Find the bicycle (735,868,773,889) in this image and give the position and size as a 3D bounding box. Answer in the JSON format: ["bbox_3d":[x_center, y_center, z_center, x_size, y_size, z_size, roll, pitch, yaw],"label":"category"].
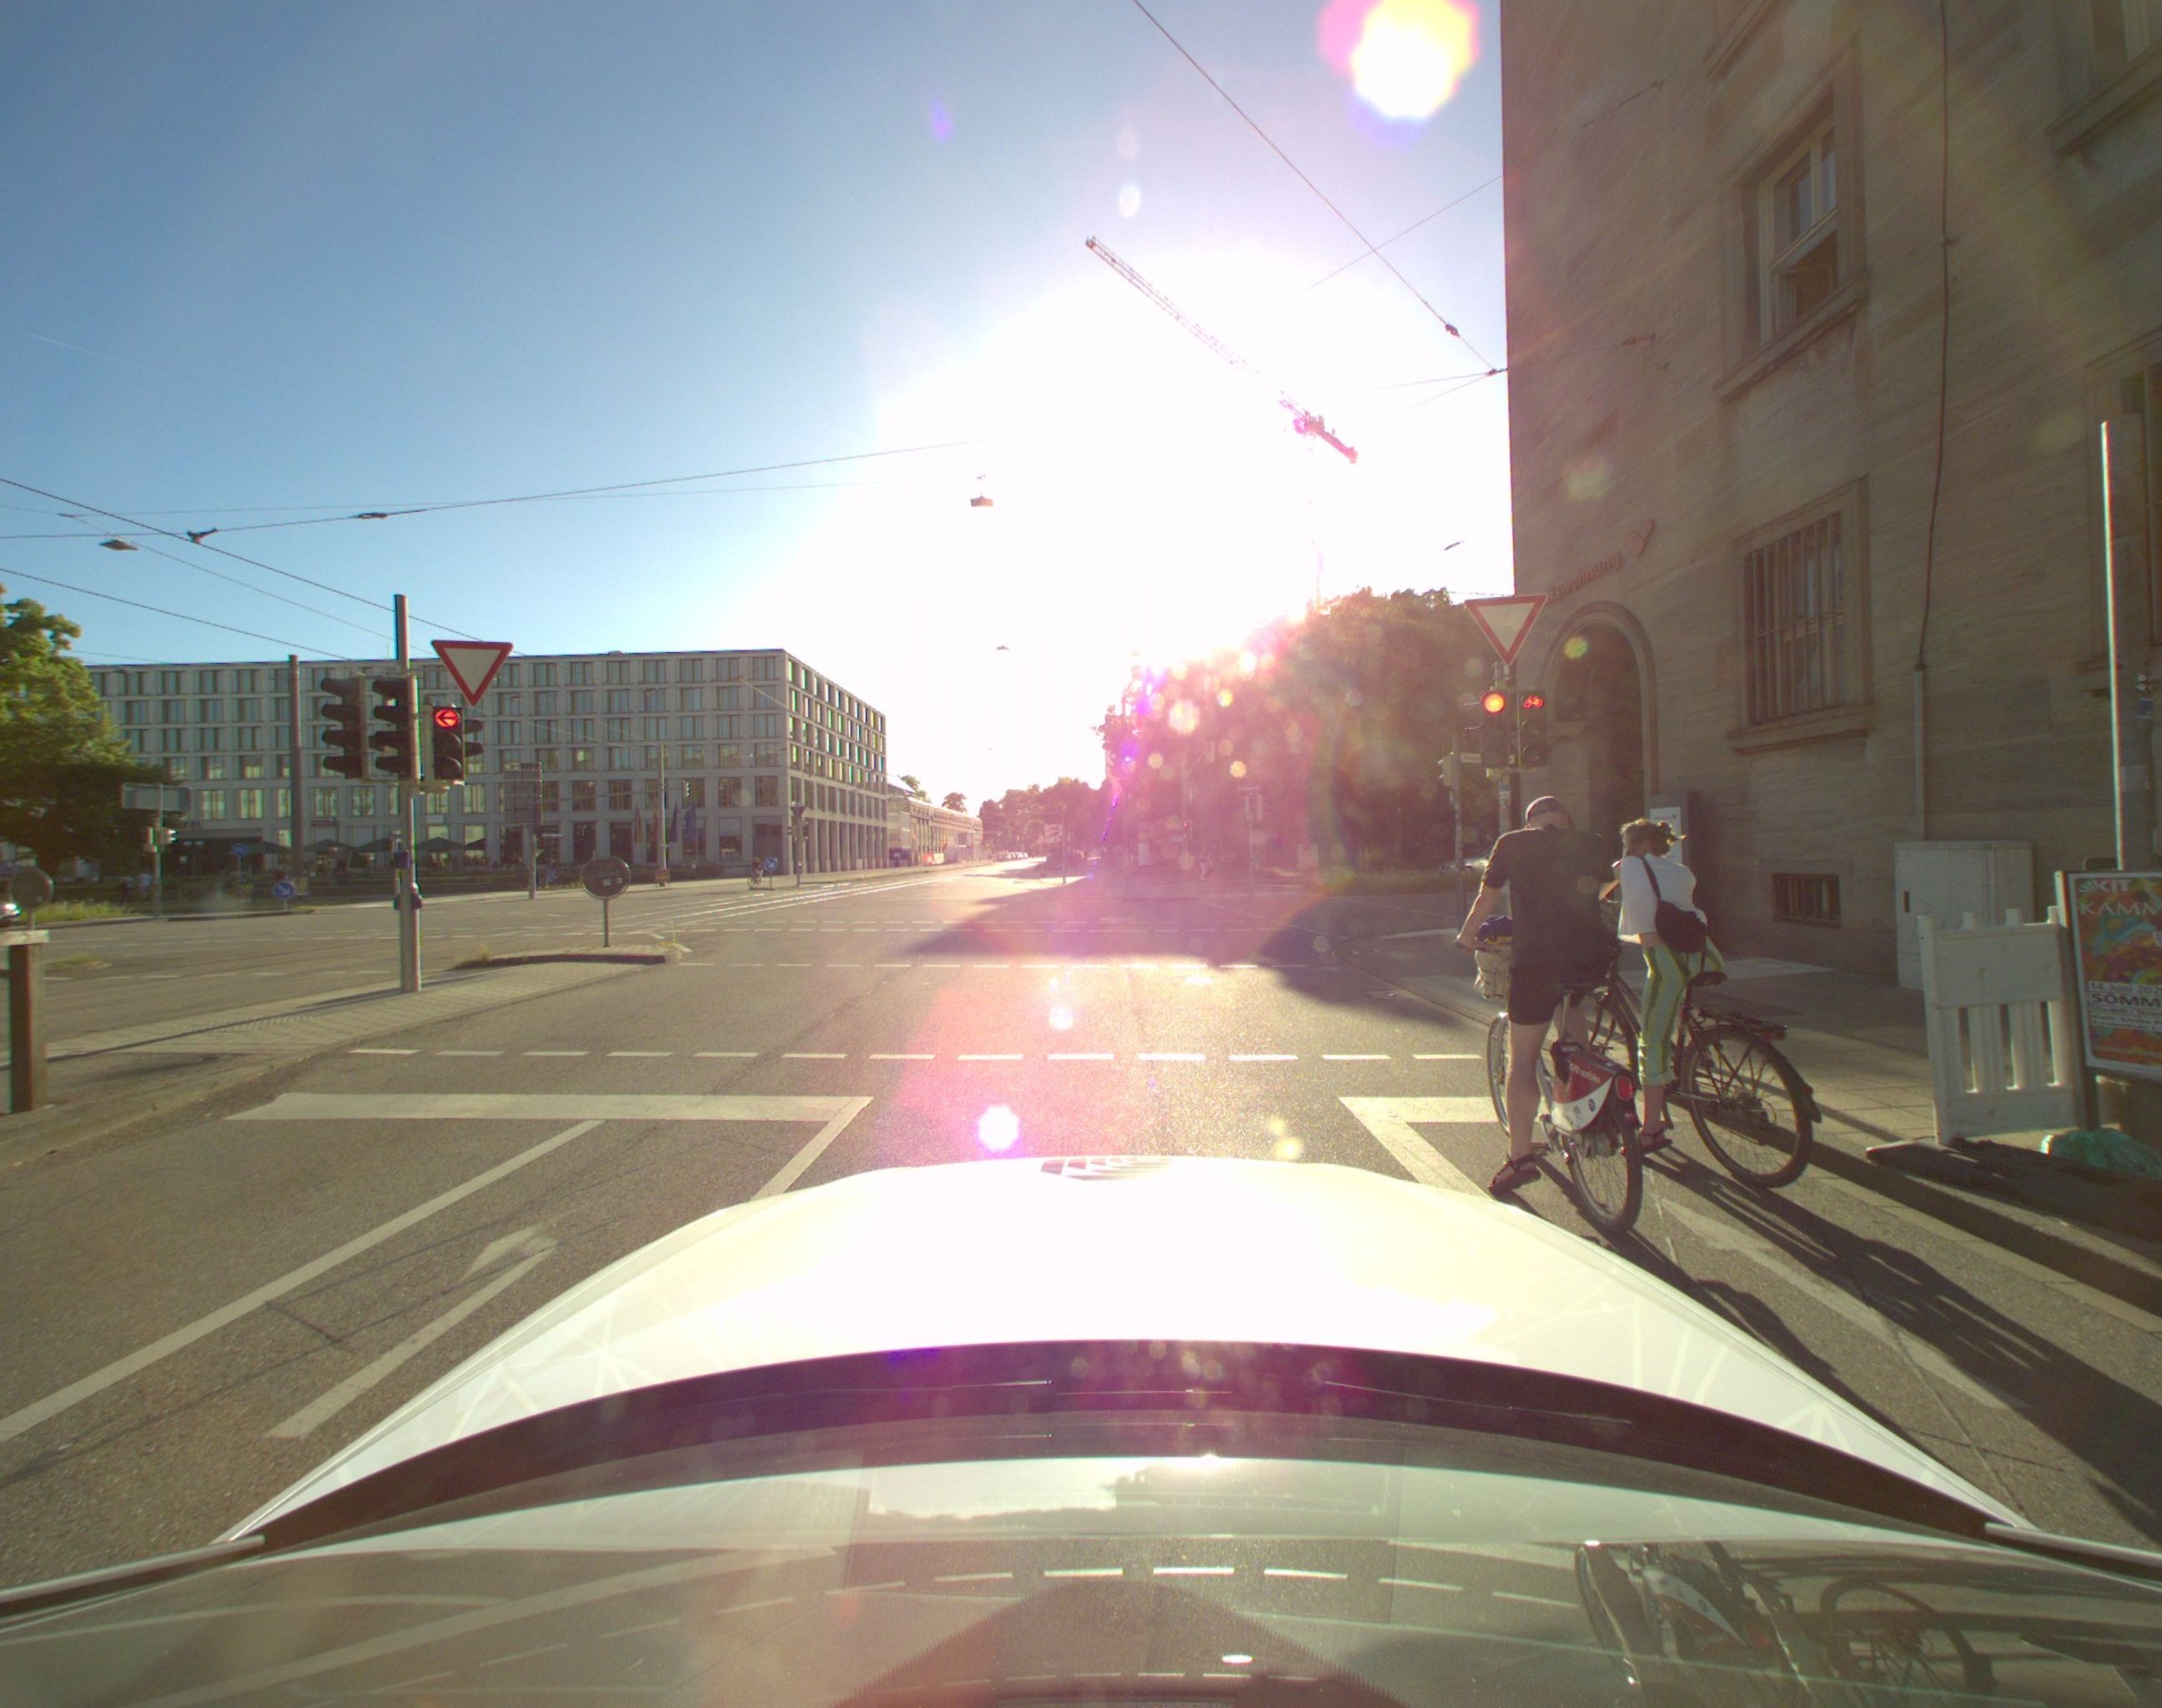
[{"bbox_3d":[-19.267,1.418,48.081,0.872,1.121,3.015,-2,0,3],"label":"bicycle"}]

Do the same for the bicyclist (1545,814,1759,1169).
[{"bbox_3d":[2.957,0.657,4.300,0.519,1.679,0.860,-2,0,5],"label":"bicyclist"}]

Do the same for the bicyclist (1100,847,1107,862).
[{"bbox_3d":[2.827,0.017,103.154,0.802,1.844,0.731,-2,0,1],"label":"bicyclist"}]

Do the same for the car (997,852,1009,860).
[{"bbox_3d":[-15.430,0.402,160.770,1.724,1.653,4.002,-2,0,2],"label":"car"}]

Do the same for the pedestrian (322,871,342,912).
[{"bbox_3d":[-42.465,2.103,46.181,0.568,2.280,0.533,-2,0,-5],"label":"pedestrian"}]

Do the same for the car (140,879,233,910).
[{"bbox_3d":[-46.884,2.108,42.722,3.175,1.438,1.471,-2,0,-1],"label":"car"}]

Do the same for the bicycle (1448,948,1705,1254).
[{"bbox_3d":[2.286,1.033,4.015,0.387,0.905,1.956,-2,0,10],"label":"bicycle"}]

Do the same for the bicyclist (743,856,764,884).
[{"bbox_3d":[-19.349,0.931,48.137,0.872,1.641,0.822,-2,0,3],"label":"bicyclist"}]

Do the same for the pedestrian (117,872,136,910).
[{"bbox_3d":[-51.452,1.992,43.896,0.490,2.013,0.493,-2,0,14],"label":"pedestrian"}]

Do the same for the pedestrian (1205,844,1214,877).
[{"bbox_3d":[7.016,0.343,44.410,0.358,1.804,0.508,-2,0,14],"label":"pedestrian"}]

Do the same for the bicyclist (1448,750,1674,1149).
[{"bbox_3d":[2.185,0.408,3.793,0.666,1.678,0.658,-2,0,9],"label":"bicyclist"}]

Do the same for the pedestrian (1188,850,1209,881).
[{"bbox_3d":[6.321,0.616,43.865,0.980,1.587,0.661,-2,-1,3],"label":"pedestrian"}]

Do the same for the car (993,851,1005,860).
[{"bbox_3d":[-15.674,0.206,156.652,1.724,1.653,4.002,-2,0,2],"label":"car"}]

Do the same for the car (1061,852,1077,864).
[{"bbox_3d":[-1.349,0.429,92.395,1.814,1.279,3.999,-2,0,0],"label":"car"}]

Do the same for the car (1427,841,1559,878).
[{"bbox_3d":[16.626,0.225,33.057,4.422,1.329,1.778,-2,0,4],"label":"car"}]

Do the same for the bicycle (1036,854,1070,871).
[{"bbox_3d":[-2.326,0.721,67.376,2.728,1.367,0.633,-1,-1,12],"label":"bicycle"}]

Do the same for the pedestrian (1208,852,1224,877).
[{"bbox_3d":[7.151,0.559,43.230,0.749,1.332,0.743,-2,0,4],"label":"pedestrian"}]

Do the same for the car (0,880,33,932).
[{"bbox_3d":[-35.795,1.693,25.321,4.147,1.574,1.728,-2,0,0],"label":"car"}]

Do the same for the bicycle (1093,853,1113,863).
[{"bbox_3d":[2.802,0.471,103.137,2.561,1.288,0.728,0,-1,-1],"label":"bicycle"}]

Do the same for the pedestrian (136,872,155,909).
[{"bbox_3d":[-51.350,1.997,44.718,0.490,2.013,0.493,-2,0,14],"label":"pedestrian"}]

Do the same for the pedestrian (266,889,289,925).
[{"bbox_3d":[-45.811,3.019,46.443,0.528,2.013,0.800,-2,0,-5],"label":"pedestrian"}]

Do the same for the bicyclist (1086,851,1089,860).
[{"bbox_3d":[0.795,0.156,98.590,0.316,1.127,0.292,-2,-1,10],"label":"bicyclist"}]

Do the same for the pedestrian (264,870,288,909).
[{"bbox_3d":[-44.246,1.946,44.755,0.648,2.068,0.649,-2,-1,-5],"label":"pedestrian"}]

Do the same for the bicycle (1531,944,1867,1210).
[{"bbox_3d":[3.091,1.034,4.343,0.424,0.876,1.953,-2,0,5],"label":"bicycle"}]

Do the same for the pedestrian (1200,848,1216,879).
[{"bbox_3d":[6.945,0.511,44.484,0.792,1.639,0.534,-2,0,4],"label":"pedestrian"}]

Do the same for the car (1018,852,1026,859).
[{"bbox_3d":[-14.057,0.315,194.887,1.478,1.750,4.002,-2,0,2],"label":"car"}]
